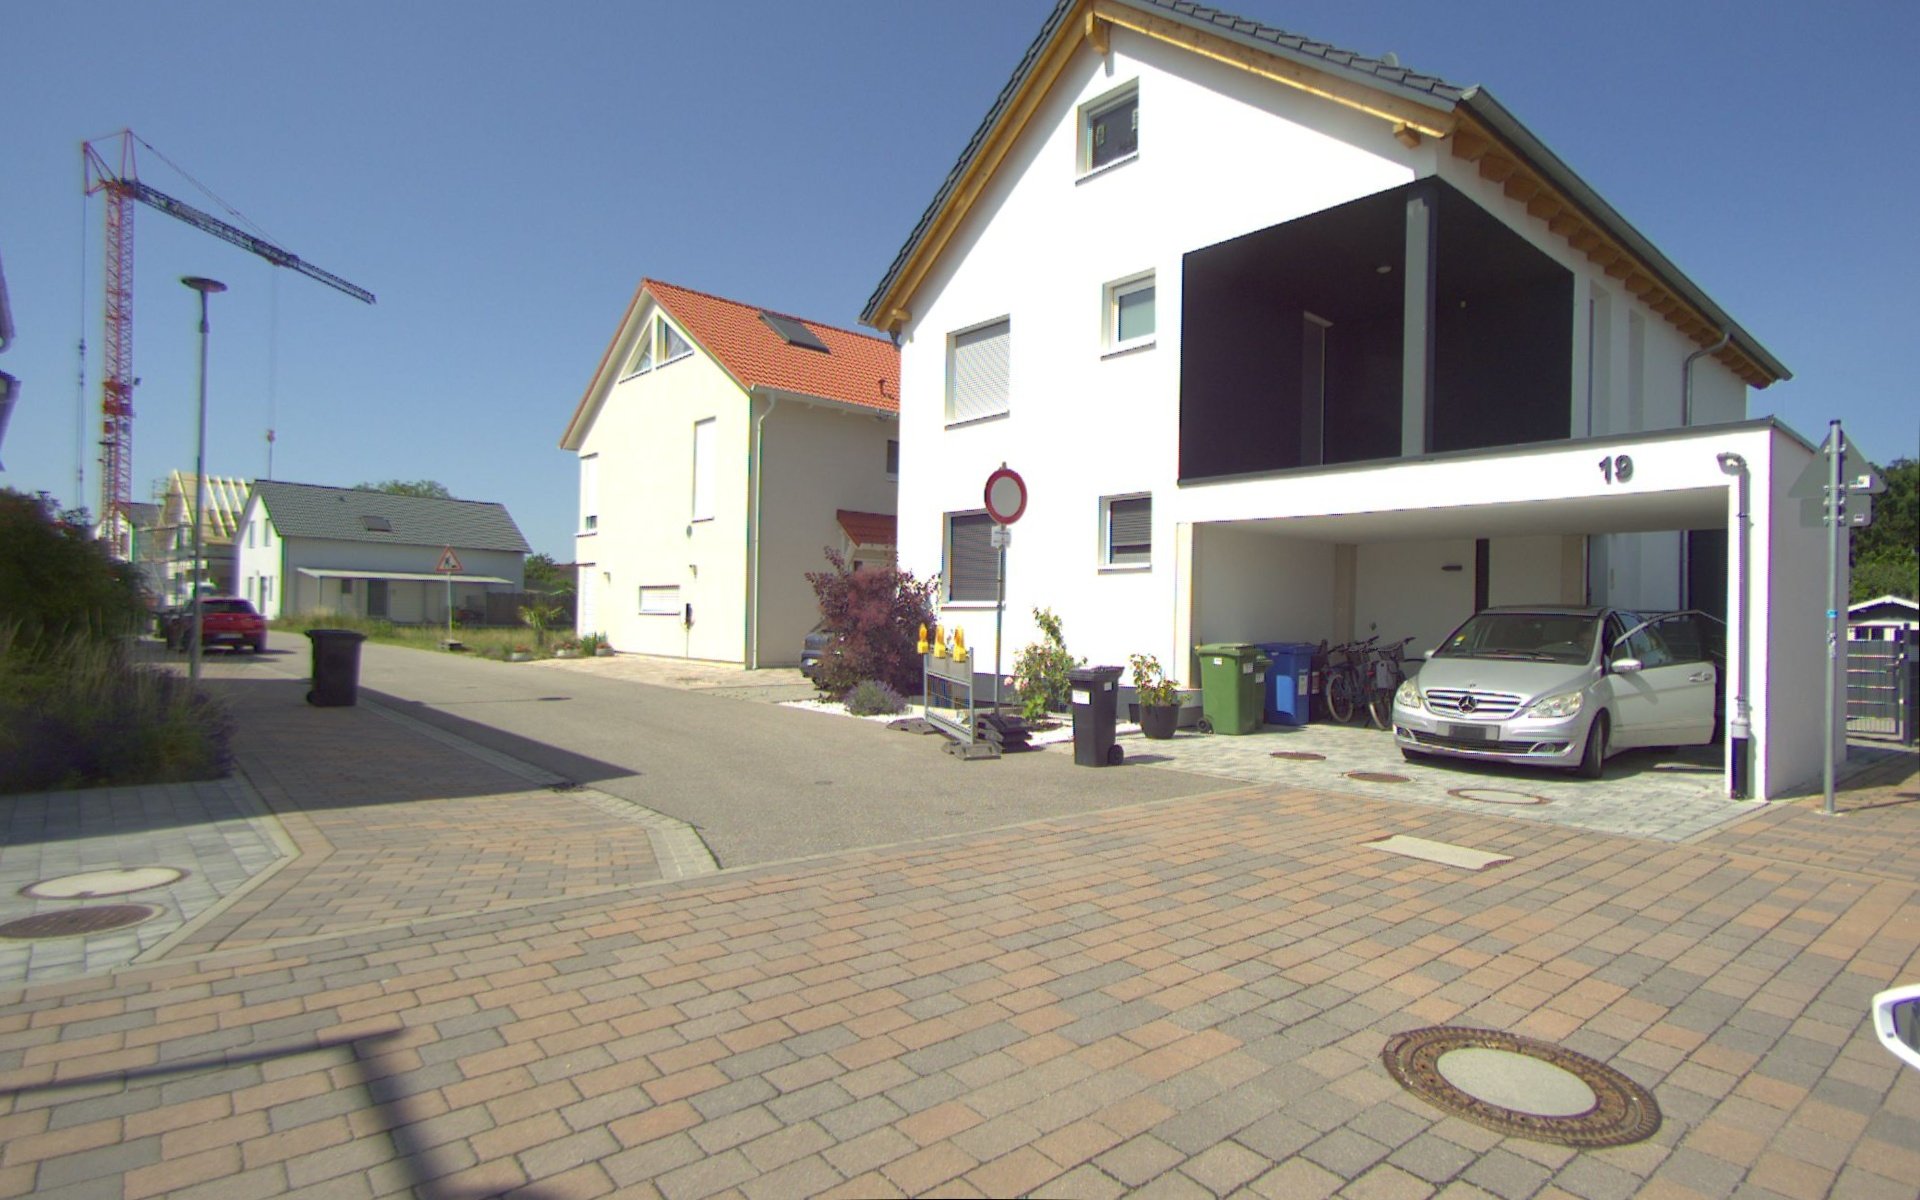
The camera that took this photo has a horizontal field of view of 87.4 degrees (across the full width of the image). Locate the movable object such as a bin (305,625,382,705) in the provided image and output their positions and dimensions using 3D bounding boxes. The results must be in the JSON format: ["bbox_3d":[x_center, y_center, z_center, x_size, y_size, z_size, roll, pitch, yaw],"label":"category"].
[{"bbox_3d":[-8.722,0.900,14.215,0.818,1.079,0.582,1,0,-43],"label":"movable object such as a bin"}]

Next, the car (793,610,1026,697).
[{"bbox_3d":[-0.838,0.919,18.196,4.031,1.399,1.734,2,-1,-42],"label":"car"}]

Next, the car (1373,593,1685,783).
[{"bbox_3d":[6.045,0.805,10.441,4.138,1.582,1.722,3,-2,-44],"label":"car"}]

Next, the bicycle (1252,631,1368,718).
[{"bbox_3d":[5.134,1.046,14.657,0.768,1.141,2.120,2,0,43],"label":"bicycle"}]

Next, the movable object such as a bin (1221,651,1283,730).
[{"bbox_3d":[3.673,1.123,12.638,0.496,0.917,0.554,0,1,-43],"label":"movable object such as a bin"}]

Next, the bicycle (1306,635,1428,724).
[{"bbox_3d":[5.684,1.061,13.962,2.117,1.141,0.722,2,-2,-42],"label":"bicycle"}]

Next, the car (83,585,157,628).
[{"bbox_3d":[-34.253,0.242,40.928,3.622,1.639,1.794,2,0,42],"label":"car"}]

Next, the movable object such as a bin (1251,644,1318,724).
[{"bbox_3d":[4.307,1.098,13.323,0.496,1.000,0.668,1,0,-43],"label":"movable object such as a bin"}]

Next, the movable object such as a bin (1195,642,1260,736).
[{"bbox_3d":[3.264,1.064,12.247,0.496,1.106,0.594,1,-2,-43],"label":"movable object such as a bin"}]

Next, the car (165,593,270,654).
[{"bbox_3d":[-20.338,0.604,27.471,1.899,1.498,3.949,2,0,-42],"label":"car"}]

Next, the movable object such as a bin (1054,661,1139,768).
[{"bbox_3d":[1.313,1.078,9.663,0.614,0.949,0.558,1,-1,-43],"label":"movable object such as a bin"}]
